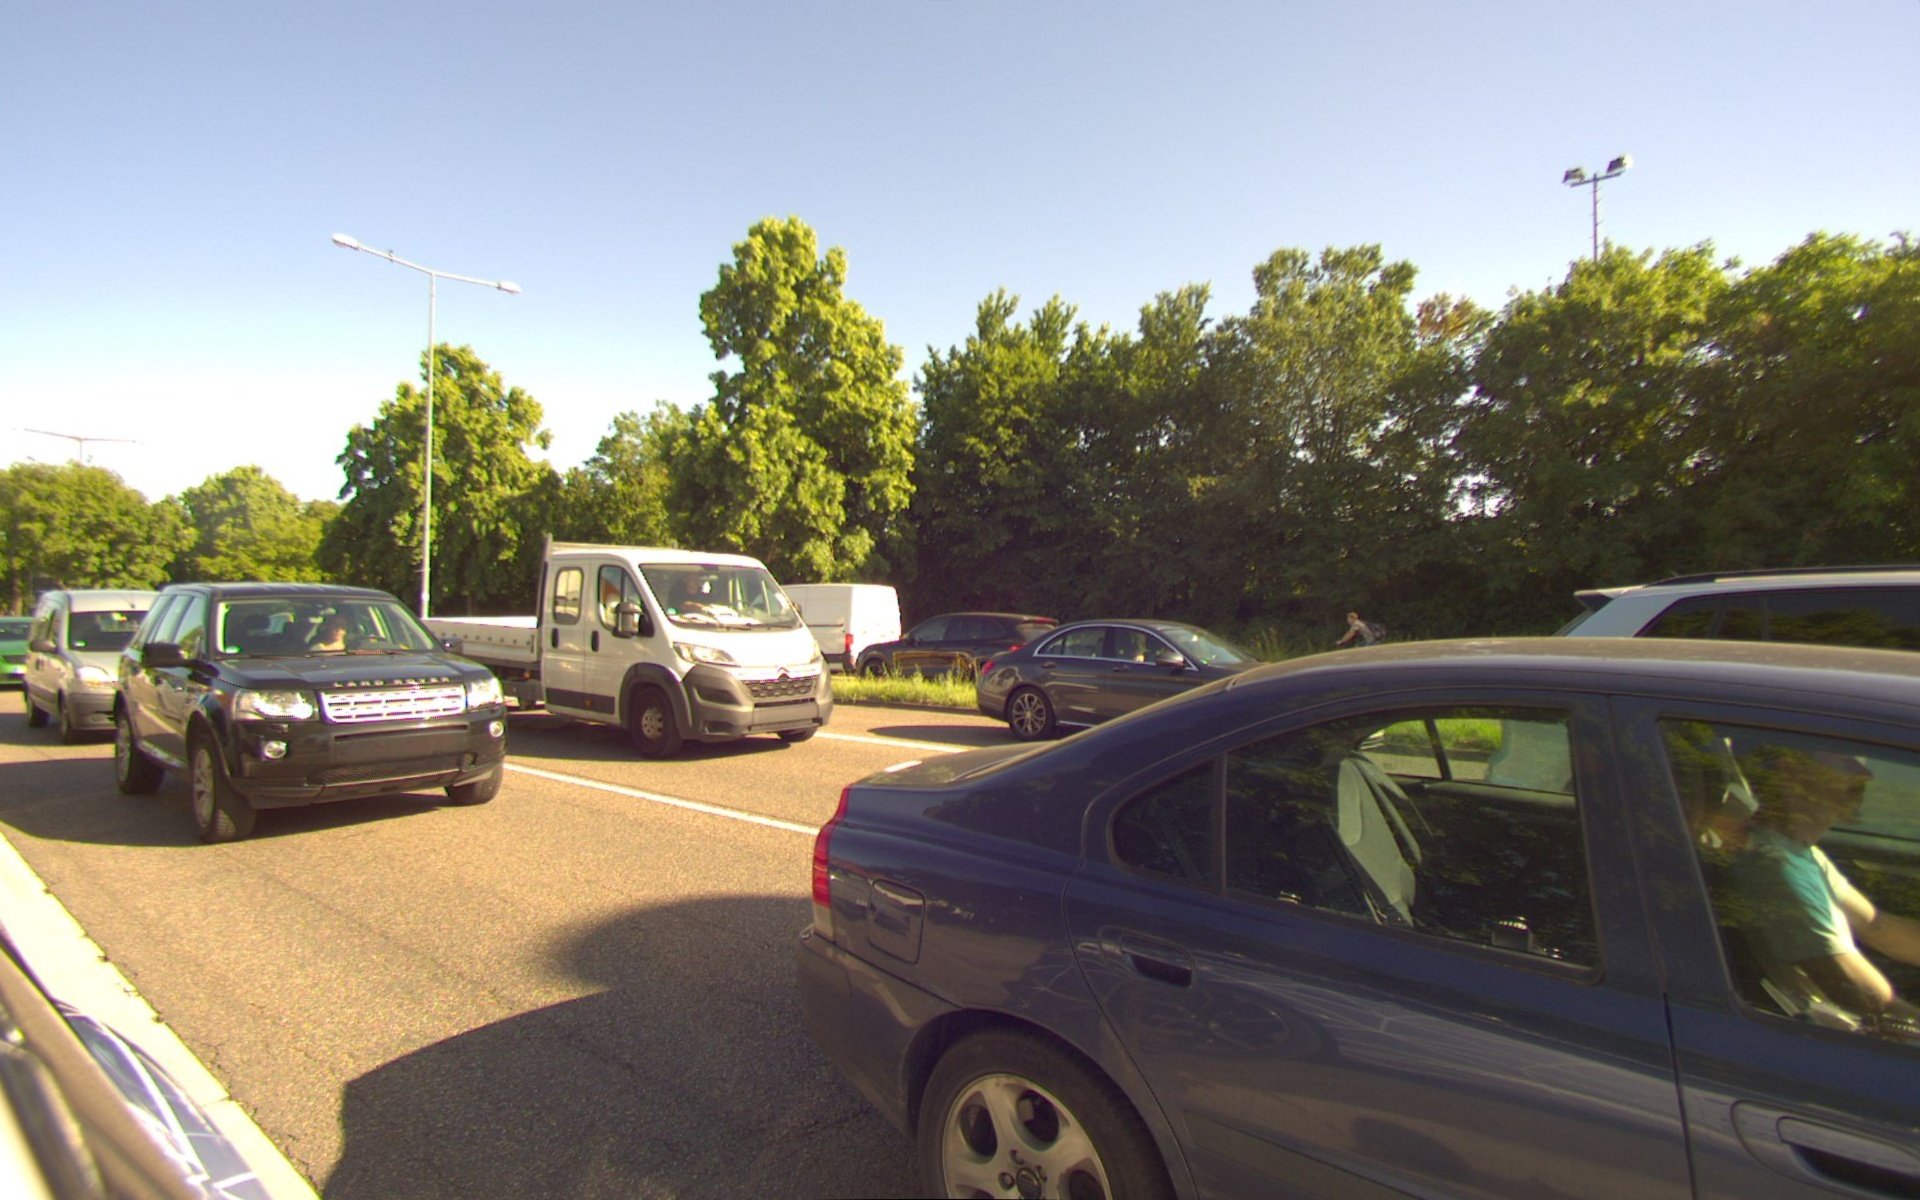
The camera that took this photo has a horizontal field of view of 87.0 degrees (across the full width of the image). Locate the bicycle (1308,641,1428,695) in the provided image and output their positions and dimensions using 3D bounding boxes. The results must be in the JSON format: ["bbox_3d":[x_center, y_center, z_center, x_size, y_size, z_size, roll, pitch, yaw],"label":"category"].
[{"bbox_3d":[9.775,1.604,24.298,2.531,1.221,0.867,-1,-3,37],"label":"bicycle"}]

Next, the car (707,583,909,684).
[{"bbox_3d":[-4.327,0.914,28.048,5.999,2.511,2.078,-1,-2,40],"label":"car"}]

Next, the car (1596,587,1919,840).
[{"bbox_3d":[7.011,0.751,6.972,4.206,1.623,1.810,-1,-3,42],"label":"car"}]

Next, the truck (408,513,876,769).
[{"bbox_3d":[-4.190,0.393,12.322,6.838,2.337,2.158,0,-1,41],"label":"truck"}]

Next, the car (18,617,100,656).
[{"bbox_3d":[-35.933,1.439,40.346,3.994,1.456,1.706,-1,-2,38],"label":"car"}]

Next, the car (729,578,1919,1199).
[{"bbox_3d":[1.660,0.699,1.763,4.454,1.463,1.757,0,0,41],"label":"car"}]

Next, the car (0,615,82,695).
[{"bbox_3d":[-19.099,1.057,20.348,3.929,1.486,1.609,-1,-3,41],"label":"car"}]

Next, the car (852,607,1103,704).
[{"bbox_3d":[0.248,0.999,19.282,4.613,1.614,1.972,-1,-3,41],"label":"car"}]

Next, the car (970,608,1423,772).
[{"bbox_3d":[2.419,0.854,11.121,4.550,1.440,1.811,-1,-3,41],"label":"car"}]

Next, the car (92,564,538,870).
[{"bbox_3d":[-5.206,0.678,7.905,4.384,1.744,1.793,0,-1,41],"label":"car"}]

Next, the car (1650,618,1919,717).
[{"bbox_3d":[11.753,0.889,13.899,3.634,1.244,1.375,-1,-3,41],"label":"car"}]

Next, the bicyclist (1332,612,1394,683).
[{"bbox_3d":[9.703,1.139,24.368,1.197,1.661,0.868,-1,-3,36],"label":"bicyclist"}]

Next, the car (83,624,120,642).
[{"bbox_3d":[-79.164,3.030,93.274,4.501,1.536,1.869,-1,-2,41],"label":"car"}]

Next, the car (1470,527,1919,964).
[{"bbox_3d":[4.871,0.592,4.368,4.423,1.723,1.972,-1,-3,41],"label":"car"}]

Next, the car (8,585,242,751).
[{"bbox_3d":[-10.663,0.735,12.810,4.384,1.764,1.611,0,-1,41],"label":"car"}]

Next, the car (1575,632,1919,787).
[{"bbox_3d":[9.211,1.098,10.920,4.163,1.474,1.757,-1,-3,41],"label":"car"}]
